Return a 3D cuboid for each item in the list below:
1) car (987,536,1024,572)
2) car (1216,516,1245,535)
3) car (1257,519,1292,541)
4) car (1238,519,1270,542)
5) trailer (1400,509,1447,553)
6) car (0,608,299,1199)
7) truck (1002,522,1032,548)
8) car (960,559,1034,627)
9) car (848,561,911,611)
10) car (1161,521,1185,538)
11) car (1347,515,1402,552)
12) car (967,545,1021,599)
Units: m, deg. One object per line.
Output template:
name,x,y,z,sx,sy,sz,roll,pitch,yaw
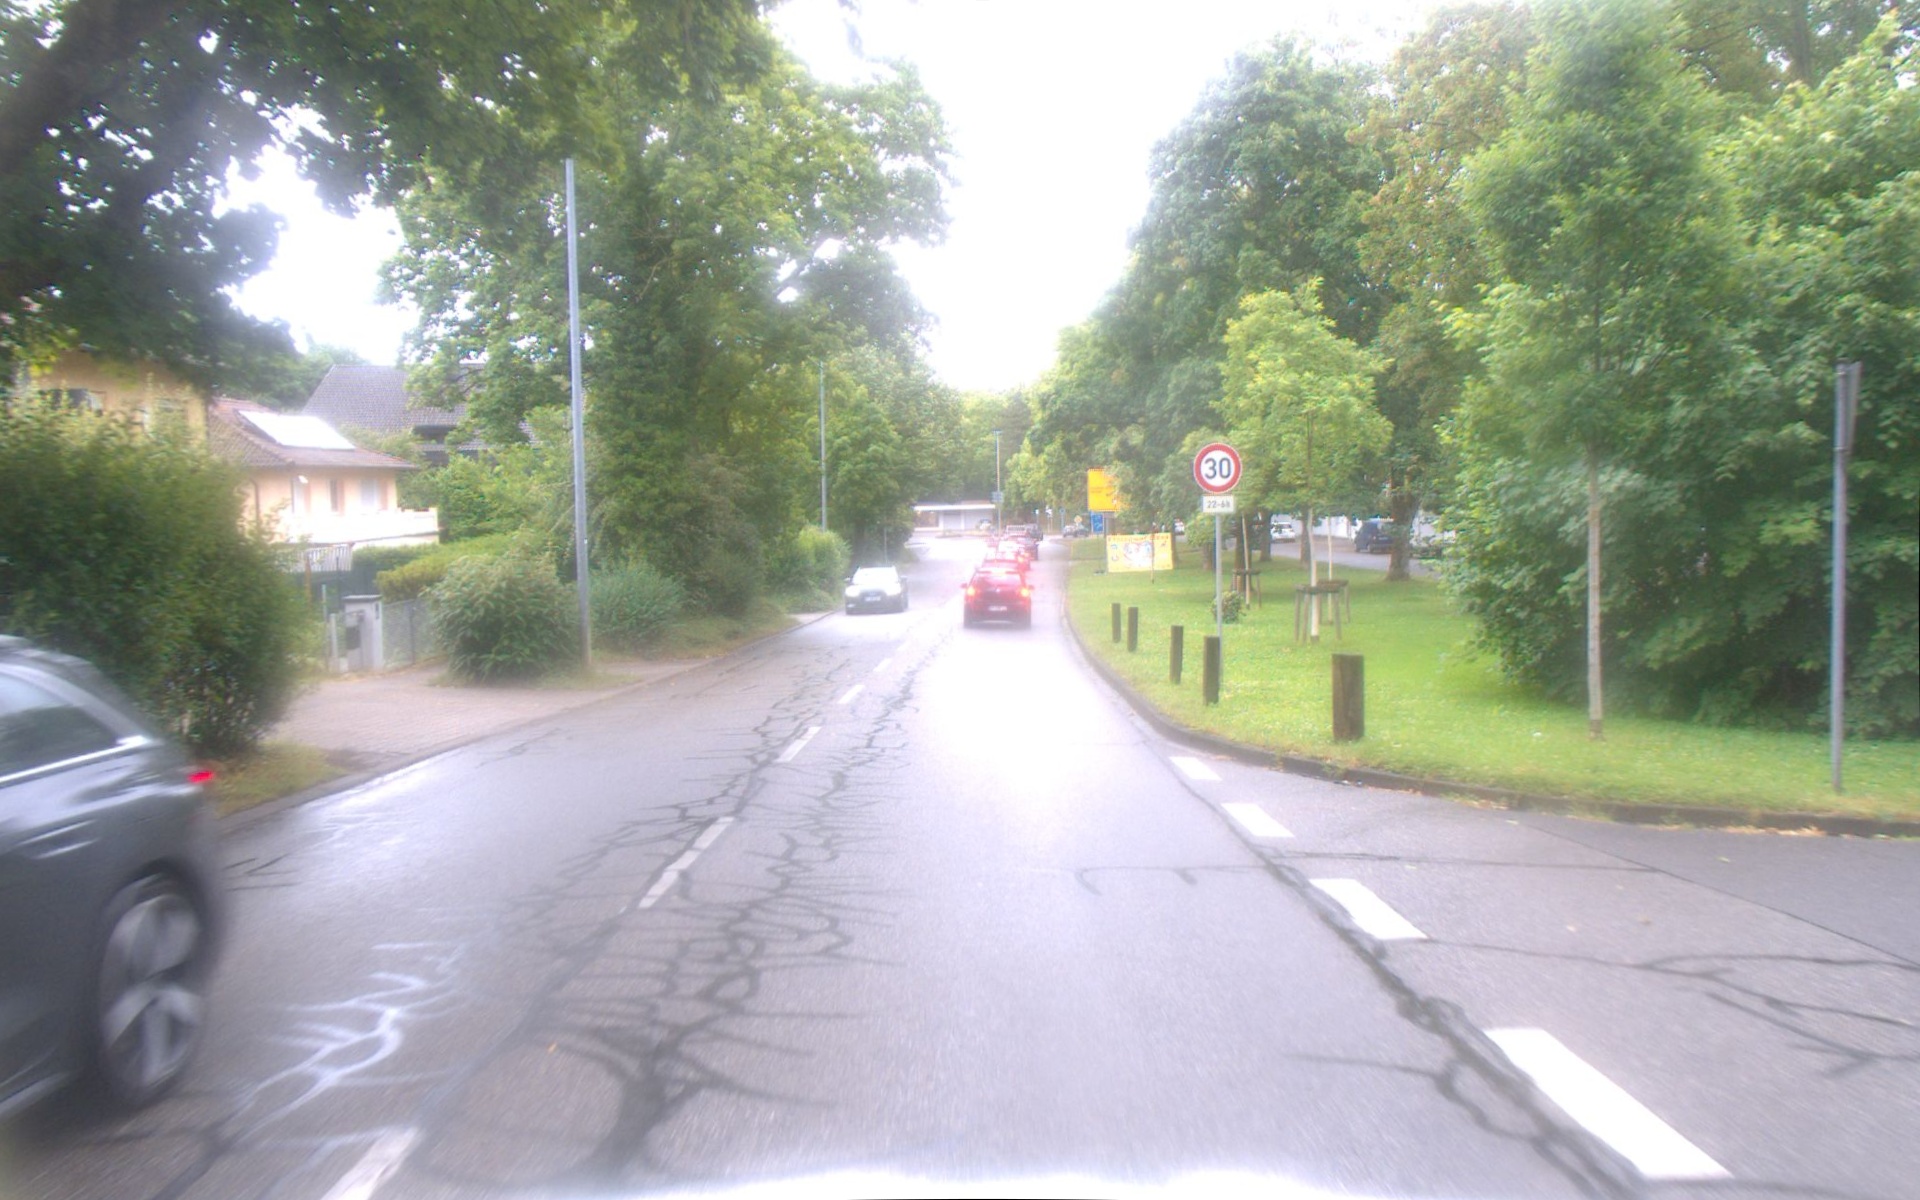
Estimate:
car,2.419,-2.468,87.665,1.817,1.815,4.003,-1,3,3
car,22.959,-6.387,140.657,1.765,1.435,4.114,-2,4,0
car,22.996,-5.119,120.921,1.584,1.433,4.010,-3,4,-2
car,22.778,-5.416,128.207,1.765,1.555,4.114,-2,4,0
trailer,23.859,-3.569,85.155,1.407,2.191,2.950,-3,3,-2
car,-3.130,0.798,3.447,1.655,1.420,4.490,-4,0,-1
truck,4.571,-5.293,133.879,2.367,2.039,5.153,-1,3,1
car,0.984,-0.207,42.358,1.761,1.541,3.756,1,3,3
car,-2.562,-0.485,53.436,1.718,1.386,4.326,-3,2,1
car,19.722,-6.534,153.200,1.766,1.430,4.003,-3,3,3
car,23.643,-3.805,94.499,1.902,1.840,4.651,-3,4,0
car,1.290,-1.069,60.544,1.817,1.815,4.003,-1,3,3
